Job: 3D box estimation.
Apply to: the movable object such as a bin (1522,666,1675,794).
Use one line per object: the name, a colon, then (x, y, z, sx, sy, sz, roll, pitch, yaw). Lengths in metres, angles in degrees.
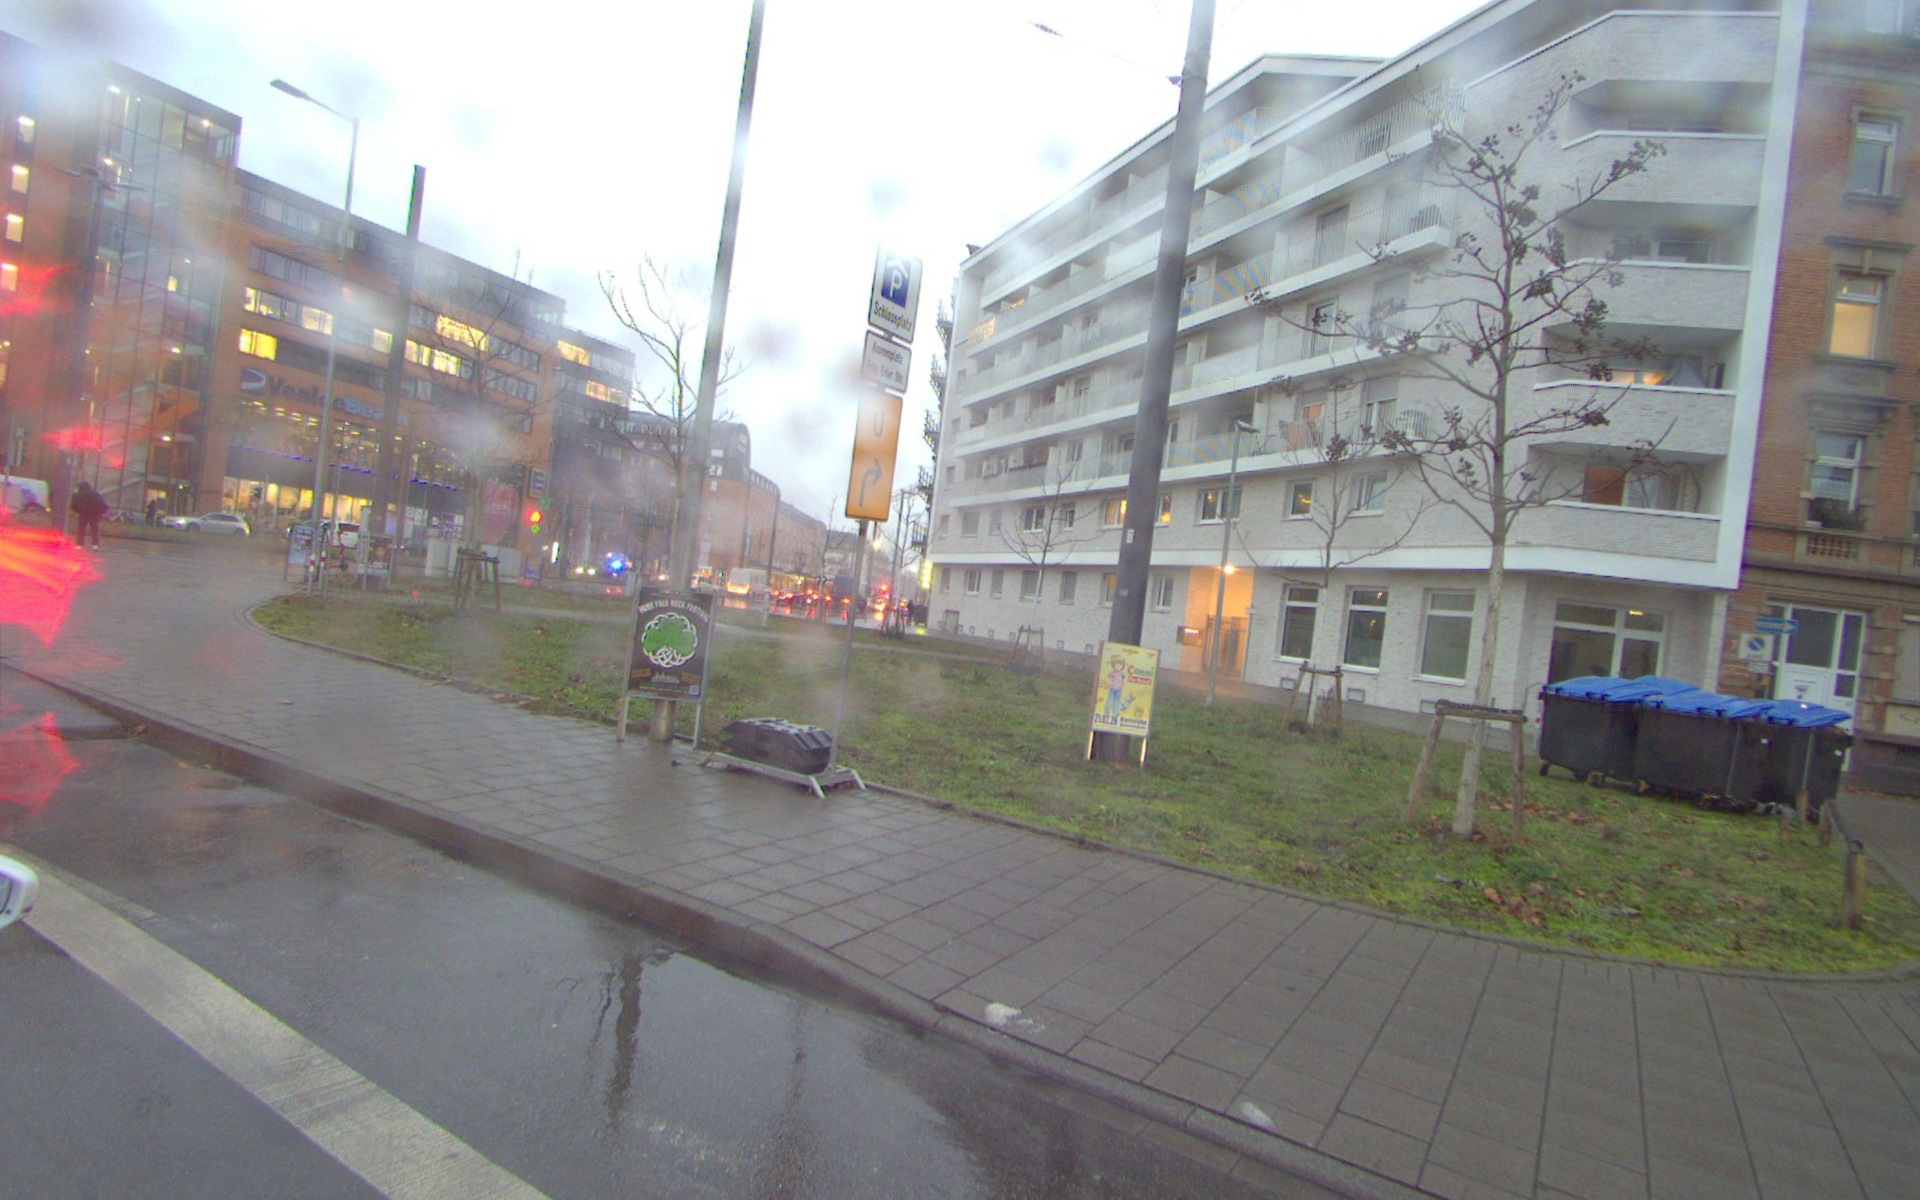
movable object such as a bin: (8.992, 1.809, 14.218, 1.016, 1.514, 1.322, 7, 1, -20)

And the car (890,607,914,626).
car: (-6.256, 1.805, 108.514, 1.662, 1.636, 3.470, 8, -2, 10)

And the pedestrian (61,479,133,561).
pedestrian: (-23.063, -2.128, 26.915, 1.164, 1.945, 0.890, 10, -2, -35)

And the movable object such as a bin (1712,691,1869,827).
movable object such as a bin: (10.774, 2.043, 13.090, 1.021, 1.507, 1.039, 9, -2, -12)

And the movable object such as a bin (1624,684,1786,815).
movable object such as a bin: (9.598, 1.912, 13.004, 1.003, 1.434, 1.218, 6, 1, -21)

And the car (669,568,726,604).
car: (-19.896, -1.038, 76.491, 1.963, 2.036, 4.003, 8, -2, 22)

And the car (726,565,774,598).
car: (-17.528, -1.506, 84.176, 1.962, 2.036, 4.957, 8, -2, 11)

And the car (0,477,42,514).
car: (-47.959, -5.356, 48.943, 1.767, 1.614, 4.431, 7, -1, 25)

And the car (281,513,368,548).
car: (-41.327, -4.487, 65.550, 1.767, 1.553, 4.444, 7, -1, 25)

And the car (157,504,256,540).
car: (-43.925, -4.545, 58.774, 1.767, 1.406, 4.227, 7, -1, 25)
